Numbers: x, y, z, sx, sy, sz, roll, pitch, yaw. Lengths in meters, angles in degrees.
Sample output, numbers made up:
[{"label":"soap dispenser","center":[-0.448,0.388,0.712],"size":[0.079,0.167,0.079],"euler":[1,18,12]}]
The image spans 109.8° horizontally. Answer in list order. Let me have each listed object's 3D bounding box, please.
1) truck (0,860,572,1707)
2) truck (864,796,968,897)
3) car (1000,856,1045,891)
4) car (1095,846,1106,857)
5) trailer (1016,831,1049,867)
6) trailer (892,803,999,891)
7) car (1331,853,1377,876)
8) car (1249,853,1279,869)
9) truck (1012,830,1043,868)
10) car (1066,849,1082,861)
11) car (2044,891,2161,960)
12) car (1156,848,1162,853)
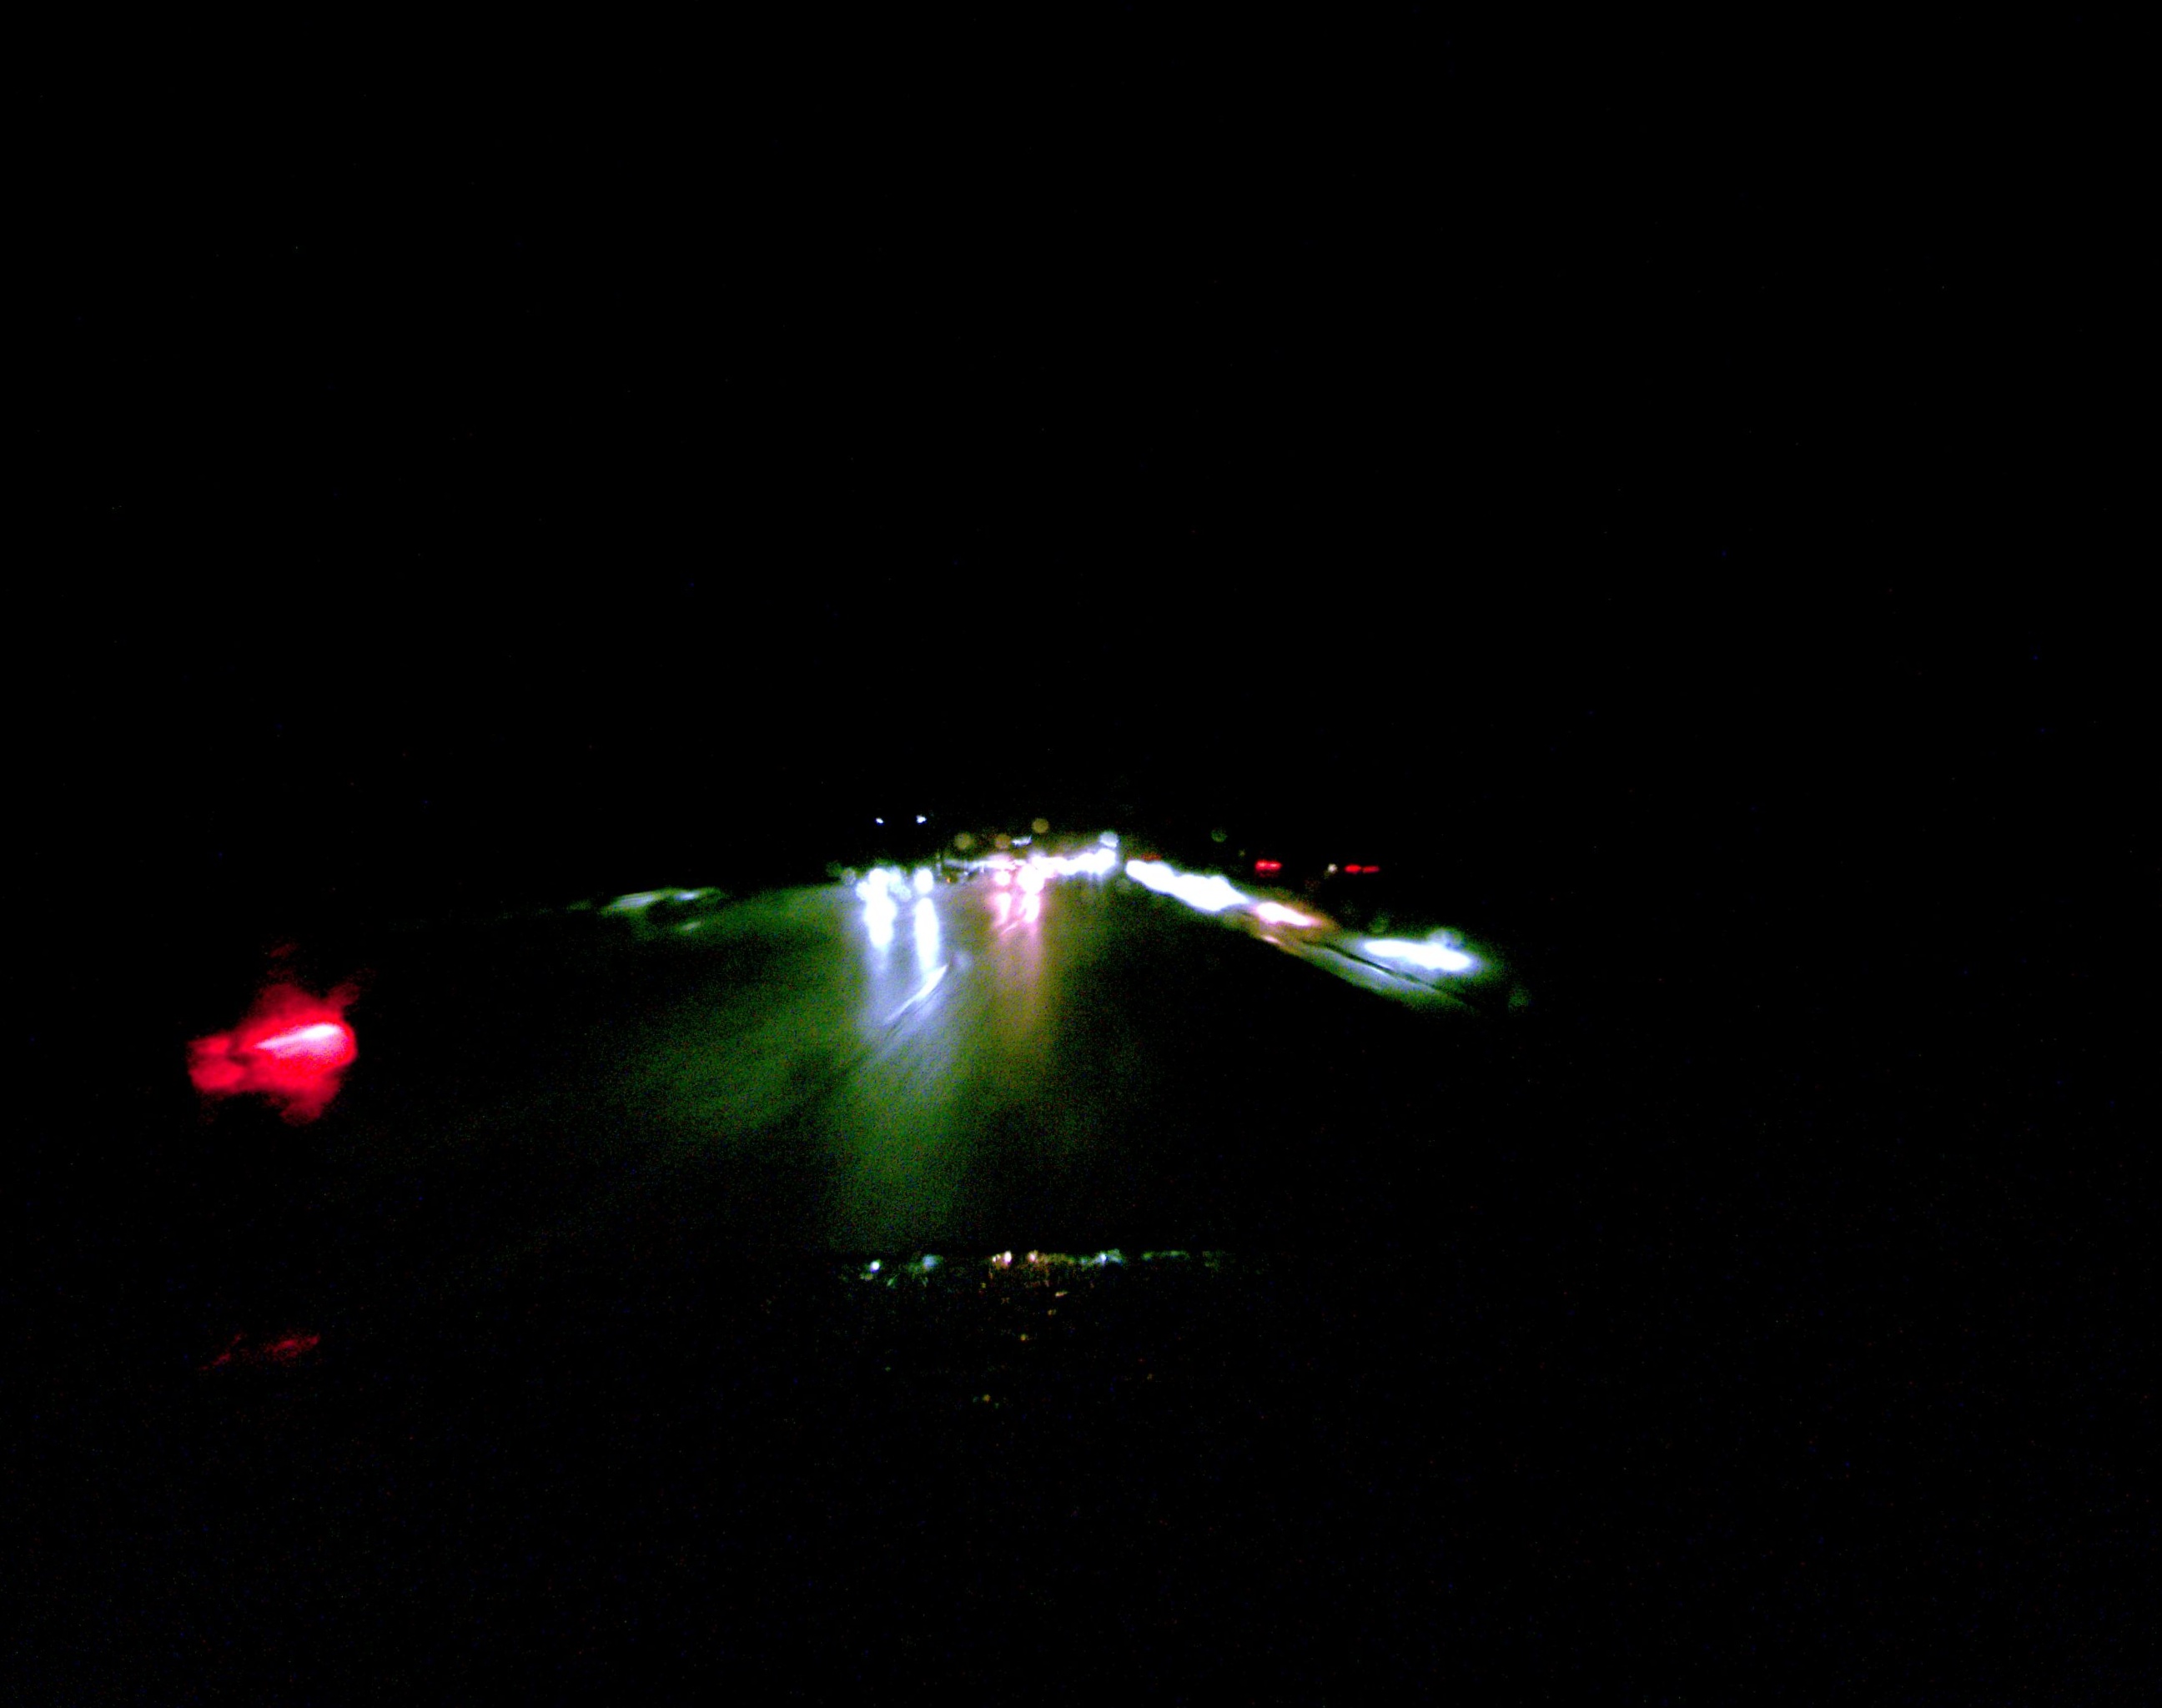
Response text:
[{"label":"truck","center":[-2.999,0.929,0.539],"size":[1.848,1.686,4.854],"euler":[-2,1,1]},{"label":"truck","center":[-7.440,-0.343,35.373],"size":[2.866,4.079,7.014],"euler":[-3,1,2]},{"label":"car","center":[-2.741,0.892,36.262],"size":[1.619,1.494,3.767],"euler":[-2,1,2]},{"label":"car","center":[2.955,-0.387,114.276],"size":[1.619,1.452,3.767],"euler":[-2,1,2]},{"label":"trailer","center":[-5.938,-0.641,94.747],"size":[2.753,4.168,11.180],"euler":[-3,0,2]},{"label":"trailer","center":[-7.197,-0.431,42.965],"size":[2.871,4.074,13.641],"euler":[-2,1,2]},{"label":"car","center":[21.517,0.796,60.133],"size":[1.897,1.574,5.371],"euler":[-2,1,2]},{"label":"car","center":[17.913,0.658,74.393],"size":[1.787,1.414,4.352],"euler":[1,1,-1]},{"label":"truck","center":[-6.199,-0.572,89.065],"size":[2.777,4.169,6.016],"euler":[-3,1,2]},{"label":"car","center":[-0.987,0.083,104.655],"size":[1.944,1.521,4.000],"euler":[-2,1,2]},{"label":"car","center":[20.478,1.348,13.485],"size":[1.642,1.096,4.046],"euler":[-2,1,0]},{"label":"car","center":[25.220,-1.102,246.214],"size":[1.694,1.499,4.272],"euler":[1,0,2]}]
